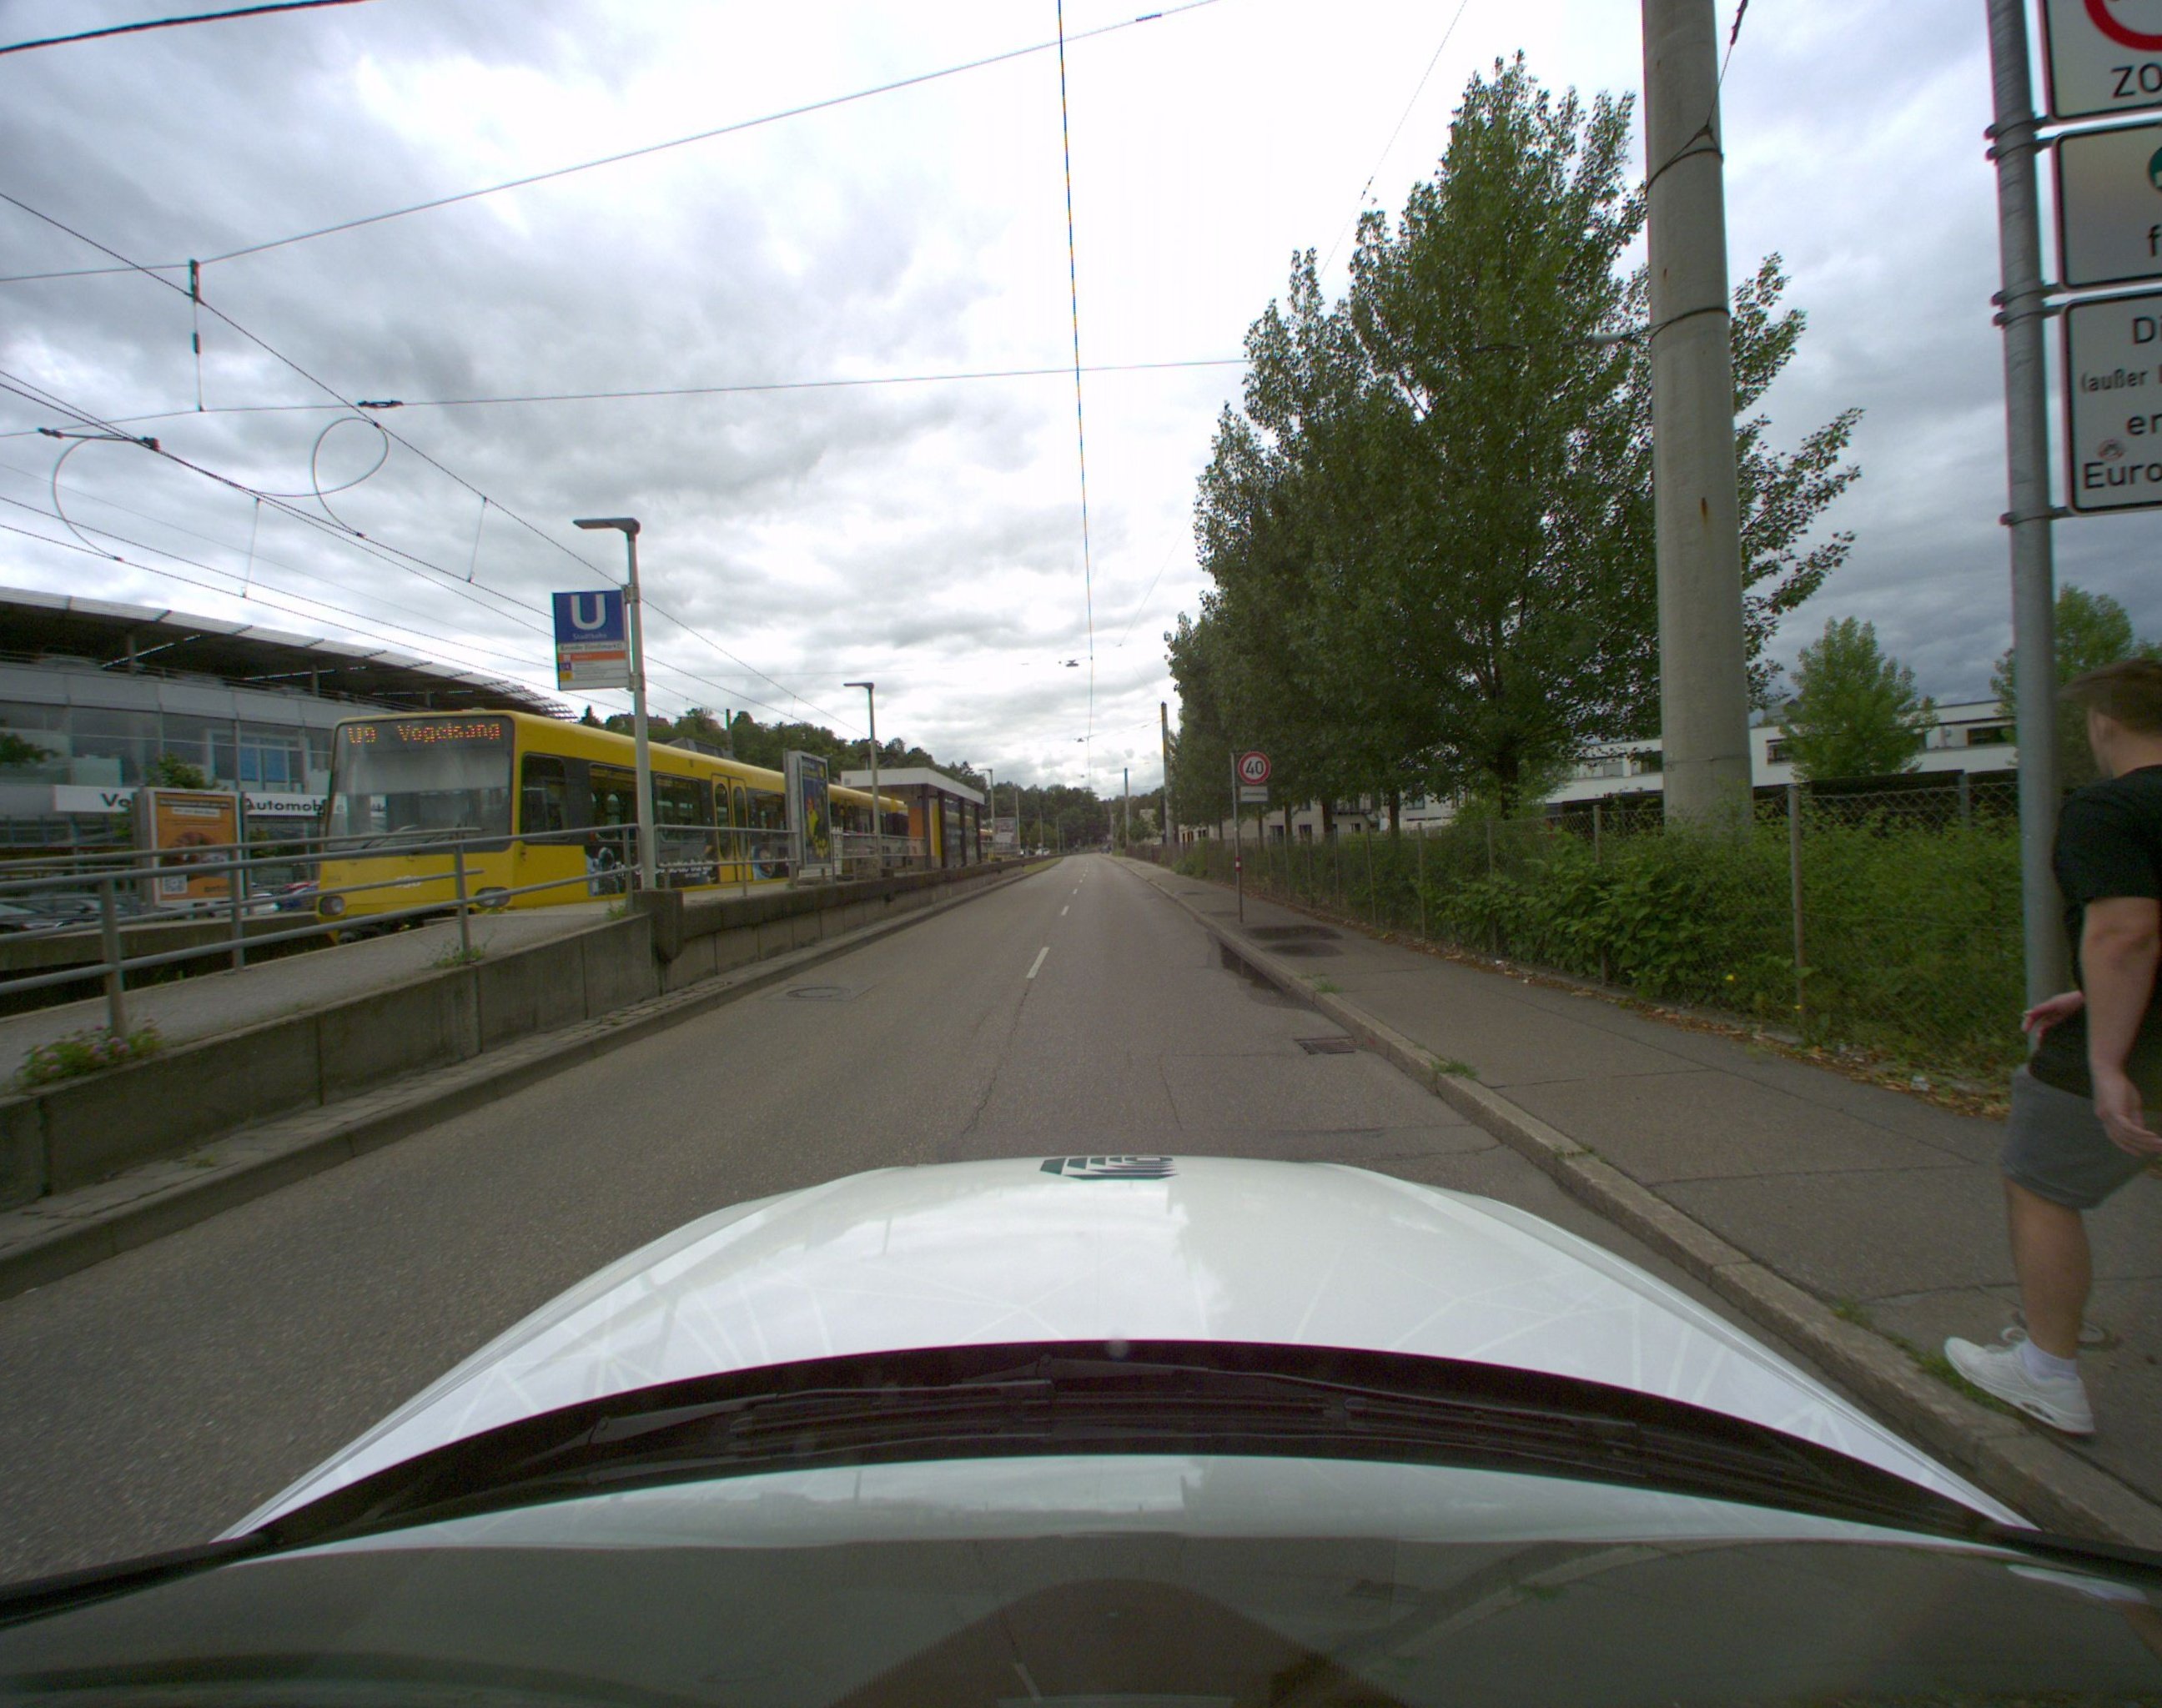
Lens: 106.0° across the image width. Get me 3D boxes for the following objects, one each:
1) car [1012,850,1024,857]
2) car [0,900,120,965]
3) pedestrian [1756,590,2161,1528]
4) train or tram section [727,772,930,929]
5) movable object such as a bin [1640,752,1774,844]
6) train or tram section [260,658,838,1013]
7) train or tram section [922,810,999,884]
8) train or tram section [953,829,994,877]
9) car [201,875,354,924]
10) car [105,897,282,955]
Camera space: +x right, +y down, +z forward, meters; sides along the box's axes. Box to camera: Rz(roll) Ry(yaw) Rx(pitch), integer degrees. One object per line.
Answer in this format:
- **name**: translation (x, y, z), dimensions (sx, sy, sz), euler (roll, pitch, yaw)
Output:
- **car**: translation (-16.565, -0.117, 214.012), dimensions (1.816, 1.706, 4.155), euler (-4, -4, 11)
- **car**: translation (-29.886, 2.225, 22.531), dimensions (3.979, 1.554, 1.925), euler (-3, 1, -4)
- **pedestrian**: translation (2.320, 0.395, 1.989), dimensions (0.600, 1.868, 0.672), euler (-3, -4, 2)
- **train or tram section**: translation (-7.745, -0.187, 27.418), dimensions (2.731, 3.966, 11.914), euler (-3, 1, 1)
- **movable object such as a bin**: translation (17.472, -1.440, 23.000), dimensions (1.975, 2.014, 4.319), euler (-5, -4, 25)
- **train or tram section**: translation (-7.961, -0.310, 15.432), dimensions (2.731, 3.966, 11.914), euler (-3, 1, 1)
- **train or tram section**: translation (-7.378, -0.477, 51.349), dimensions (2.961, 4.064, 10.198), euler (-3, 1, 1)
- **train or tram section**: translation (-9.391, -0.080, 71.986), dimensions (1.986, 3.795, 9.181), euler (-3, 0, 1)
- **car**: translation (-30.094, 1.698, 30.600), dimensions (3.968, 1.554, 1.929), euler (-4, -4, 4)
- **car**: translation (-30.086, 2.427, 27.694), dimensions (3.968, 1.554, 1.930), euler (-4, 1, 4)
